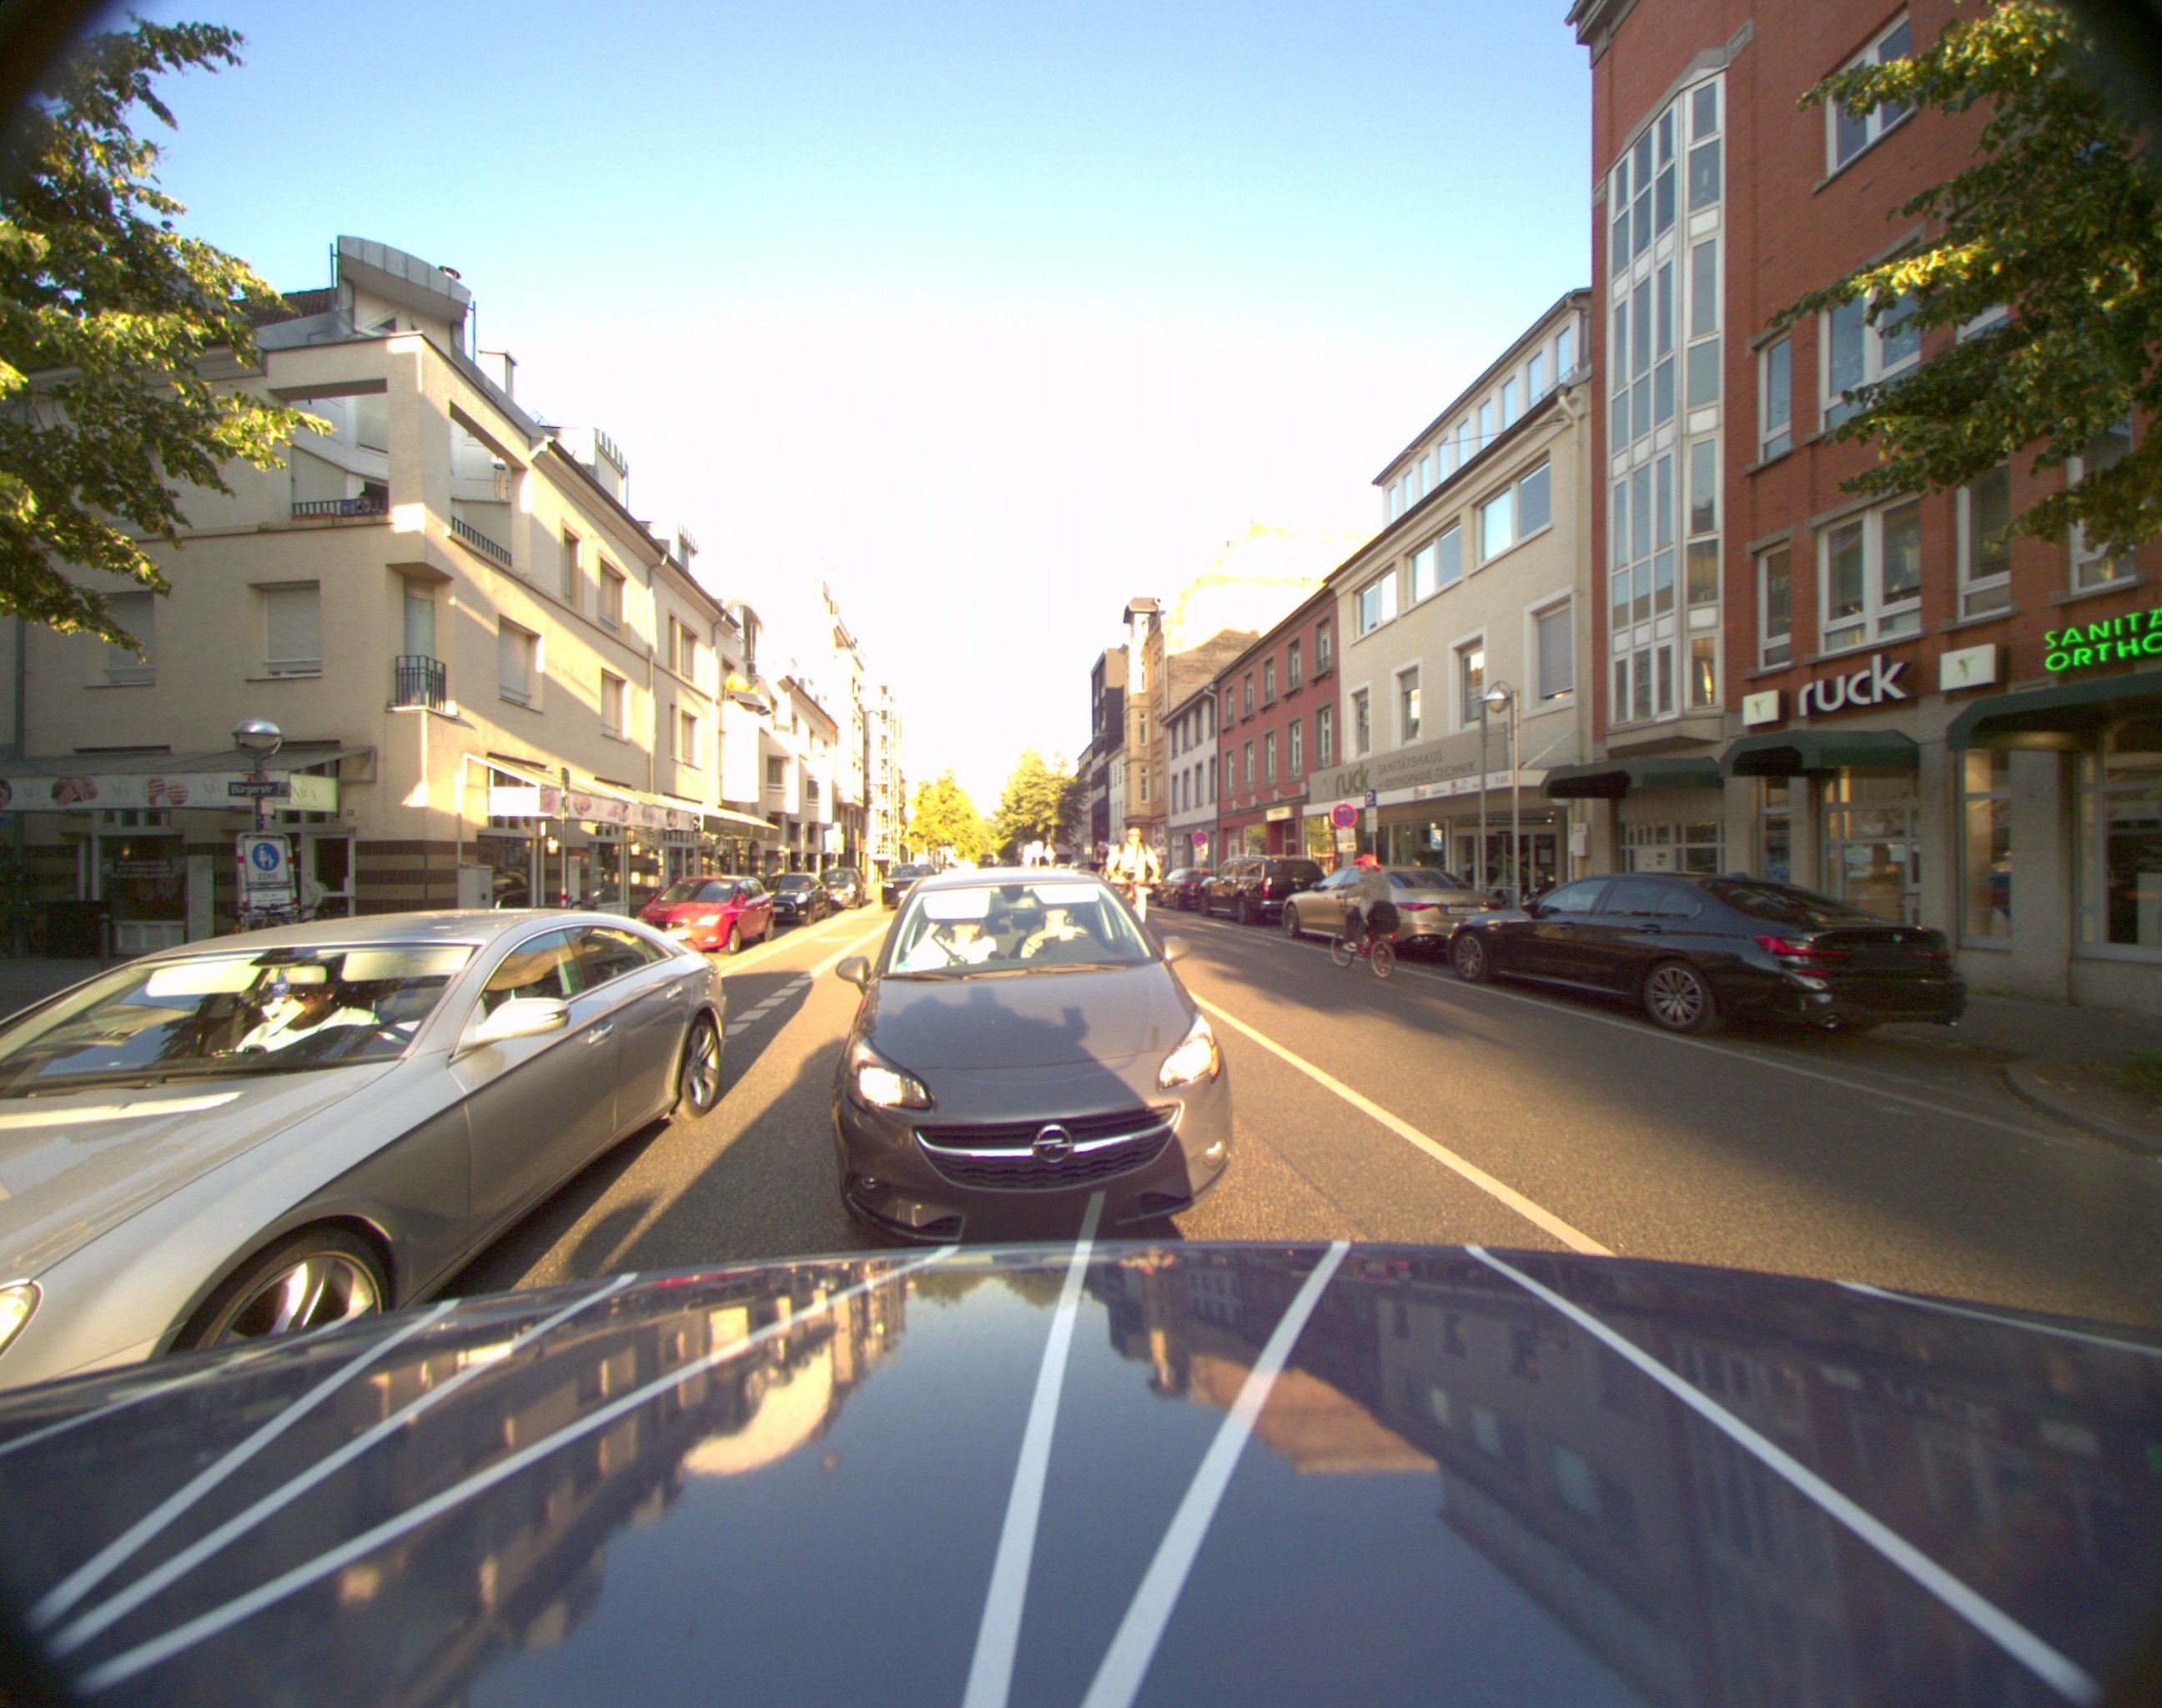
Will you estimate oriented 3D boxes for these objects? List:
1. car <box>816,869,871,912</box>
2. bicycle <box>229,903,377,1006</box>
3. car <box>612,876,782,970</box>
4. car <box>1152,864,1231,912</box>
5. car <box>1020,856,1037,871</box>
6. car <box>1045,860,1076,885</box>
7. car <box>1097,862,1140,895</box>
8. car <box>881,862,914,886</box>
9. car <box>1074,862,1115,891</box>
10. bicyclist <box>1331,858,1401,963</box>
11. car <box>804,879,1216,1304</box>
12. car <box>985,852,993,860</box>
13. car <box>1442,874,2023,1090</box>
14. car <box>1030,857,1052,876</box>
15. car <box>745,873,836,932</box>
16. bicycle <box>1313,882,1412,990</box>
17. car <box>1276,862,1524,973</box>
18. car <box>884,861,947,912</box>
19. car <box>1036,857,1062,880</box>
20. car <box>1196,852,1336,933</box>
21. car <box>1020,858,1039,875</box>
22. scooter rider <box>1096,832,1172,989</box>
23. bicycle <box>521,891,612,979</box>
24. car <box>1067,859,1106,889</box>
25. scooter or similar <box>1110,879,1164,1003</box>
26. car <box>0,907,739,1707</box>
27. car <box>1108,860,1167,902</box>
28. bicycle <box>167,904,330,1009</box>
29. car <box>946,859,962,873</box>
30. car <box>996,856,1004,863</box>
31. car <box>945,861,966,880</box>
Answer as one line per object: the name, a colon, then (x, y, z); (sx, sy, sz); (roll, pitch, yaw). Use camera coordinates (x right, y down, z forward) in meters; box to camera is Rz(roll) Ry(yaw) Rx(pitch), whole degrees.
car: (-8.934, 1.336, 28.800); (1.432, 1.442, 3.378); (-1, 0, -8)
bicycle: (-10.477, 1.300, 10.332); (0.332, 1.123, 2.010); (0, 0, -11)
car: (-7.226, 1.214, 14.762); (1.654, 1.420, 3.998); (-2, 0, -8)
car: (3.737, 1.109, 26.358); (1.737, 1.515, 3.840); (0, 0, -7)
car: (-6.272, 1.118, 90.196); (1.766, 1.762, 3.870); (0, 0, -7)
car: (-1.515, 1.278, 54.808); (1.796, 1.606, 3.970); (-2, 1, -7)
car: (1.943, 1.247, 40.026); (1.686, 1.580, 3.514); (-1, 0, -7)
car: (-12.489, 1.313, 51.807); (1.766, 1.563, 3.870); (0, 0, -7)
car: (0.717, 1.248, 43.791); (1.792, 1.504, 3.775); (-1, 1, -8)
bicyclist: (3.715, 0.708, 9.929); (0.569, 1.295, 0.660); (-2, 1, -9)
car: (-0.585, 0.955, 4.871); (1.588, 1.445, 3.839); (-1, 0, -10)
car: (-19.380, 0.382, 160.168); (1.673, 1.630, 3.253); (-2, 1, -7)
car: (5.898, 0.980, 7.786); (1.805, 1.385, 4.414); (-1, 1, -9)
car: (-3.812, 1.177, 72.136); (1.766, 1.762, 3.870); (0, 0, -7)
car: (-8.139, 1.298, 21.585); (1.615, 1.386, 3.692); (-2, 0, -9)
bicycle: (3.700, 1.038, 10.123); (0.421, 1.230, 1.693); (-2, 1, -10)
car: (5.264, 0.941, 13.455); (1.896, 1.590, 4.942); (0, -1, -6)
car: (-5.818, 1.094, 27.102); (1.897, 1.632, 3.747); (-1, 0, -8)
car: (-2.609, 1.118, 61.331); (1.766, 1.762, 3.870); (0, 0, -7)
car: (4.733, 0.936, 20.325); (1.974, 1.873, 4.944); (-1, -1, -8)
car: (-5.471, 1.319, 80.521); (1.788, 1.762, 3.870); (0, 0, -7)
scooter rider: (0.630, 0.657, 9.213); (0.813, 1.797, 0.788); (-2, 1, 2)
bicycle: (-8.250, 1.252, 12.260); (0.505, 1.230, 1.711); (0, 0, -8)
car: (0.302, 1.226, 48.110); (1.882, 1.667, 4.034); (-2, 1, -8)
scooter or similar: (0.664, 1.011, 9.372); (0.545, 1.342, 1.669); (-1, 0, 1)
car: (-3.039, 1.092, 2.934); (1.791, 1.361, 4.570); (-2, 0, -7)
car: (2.521, 1.191, 34.900); (1.877, 1.718, 4.137); (-1, 0, -8)
bicycle: (-11.080, 1.305, 10.212); (0.332, 1.123, 2.010); (-1, 1, -11)
car: (-15.008, 1.372, 90.097); (1.766, 1.622, 3.870); (0, 0, -7)
car: (-21.193, 1.499, 199.310); (1.846, 1.796, 3.582); (-2, 1, -2)
car: (-11.859, 1.517, 71.953); (1.693, 1.644, 3.731); (-2, 1, -8)
